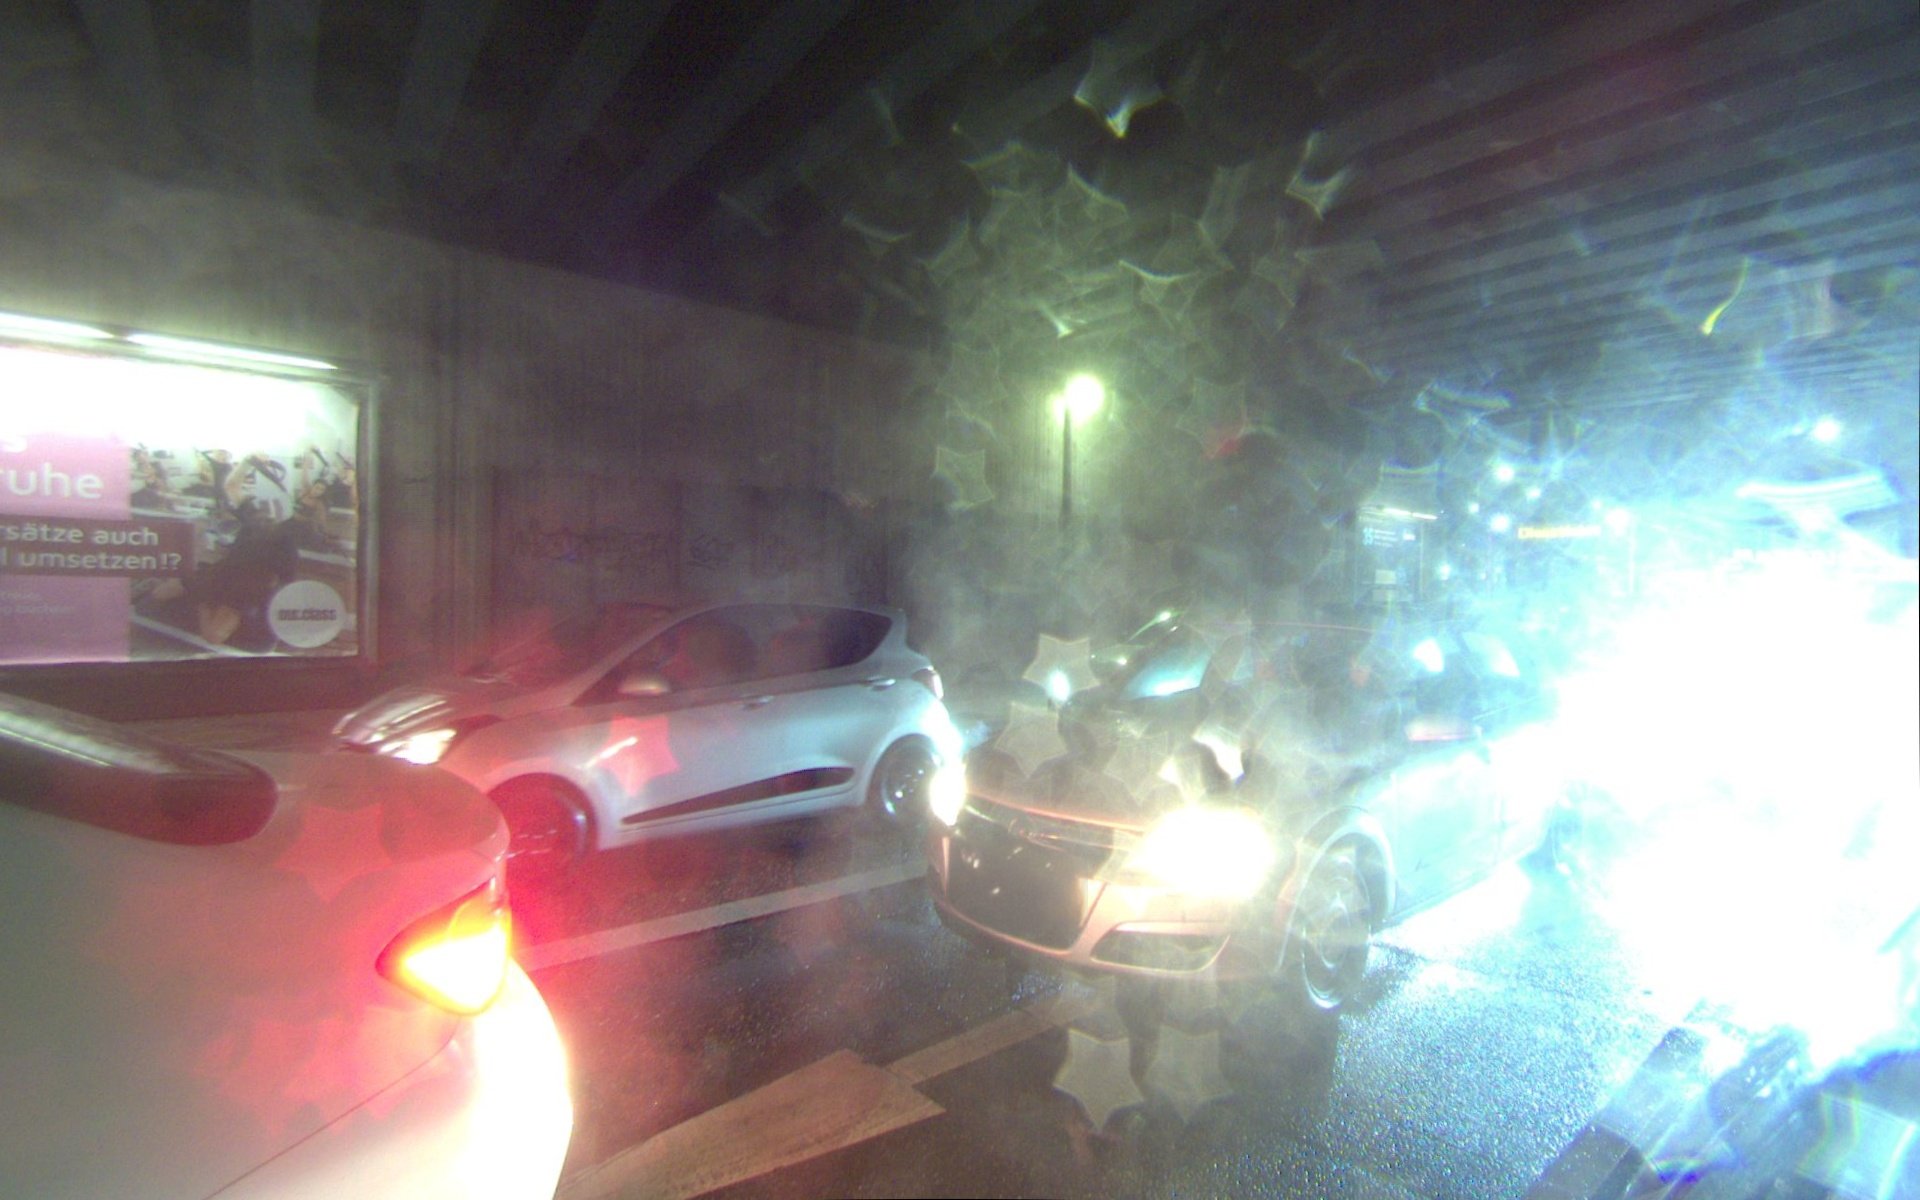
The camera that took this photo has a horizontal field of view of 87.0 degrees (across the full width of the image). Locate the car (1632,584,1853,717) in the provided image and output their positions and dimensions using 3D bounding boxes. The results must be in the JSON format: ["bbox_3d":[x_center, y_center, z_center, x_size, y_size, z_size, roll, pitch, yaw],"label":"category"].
[{"bbox_3d":[10.589,0.562,13.605,3.705,1.531,1.865,-1,0,-44],"label":"car"}]

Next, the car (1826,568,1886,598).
[{"bbox_3d":[61.495,-1.148,69.542,1.979,1.950,3.966,0,0,25],"label":"car"}]

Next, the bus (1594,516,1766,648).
[{"bbox_3d":[20.595,-0.427,28.638,2.768,3.163,9.610,0,0,43],"label":"bus"}]

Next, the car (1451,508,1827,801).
[{"bbox_3d":[6.498,0.368,9.484,4.274,2.115,1.996,-1,0,-43],"label":"car"}]

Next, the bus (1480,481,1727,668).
[{"bbox_3d":[14.052,-0.439,21.608,2.768,3.163,9.610,0,0,43],"label":"bus"}]

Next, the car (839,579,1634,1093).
[{"bbox_3d":[1.563,0.629,4.824,3.931,1.384,1.791,-2,2,-41],"label":"car"}]

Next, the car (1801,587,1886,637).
[{"bbox_3d":[28.062,0.348,32.239,1.674,1.490,3.948,0,0,36],"label":"car"}]

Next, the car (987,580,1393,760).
[{"bbox_3d":[2.474,0.559,10.110,4.489,1.408,1.754,1,0,-43],"label":"car"}]

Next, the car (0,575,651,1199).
[{"bbox_3d":[-2.691,0.692,0.976,4.273,1.422,1.719,-1,0,-41],"label":"car"}]

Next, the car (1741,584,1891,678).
[{"bbox_3d":[15.550,0.485,18.325,3.933,1.522,1.627,-1,0,-43],"label":"car"}]

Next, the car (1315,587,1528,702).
[{"bbox_3d":[6.892,0.554,14.944,1.750,1.449,3.701,2,1,43],"label":"car"}]

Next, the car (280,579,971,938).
[{"bbox_3d":[-1.772,0.630,5.977,3.533,1.477,1.635,-1,0,-43],"label":"car"}]
